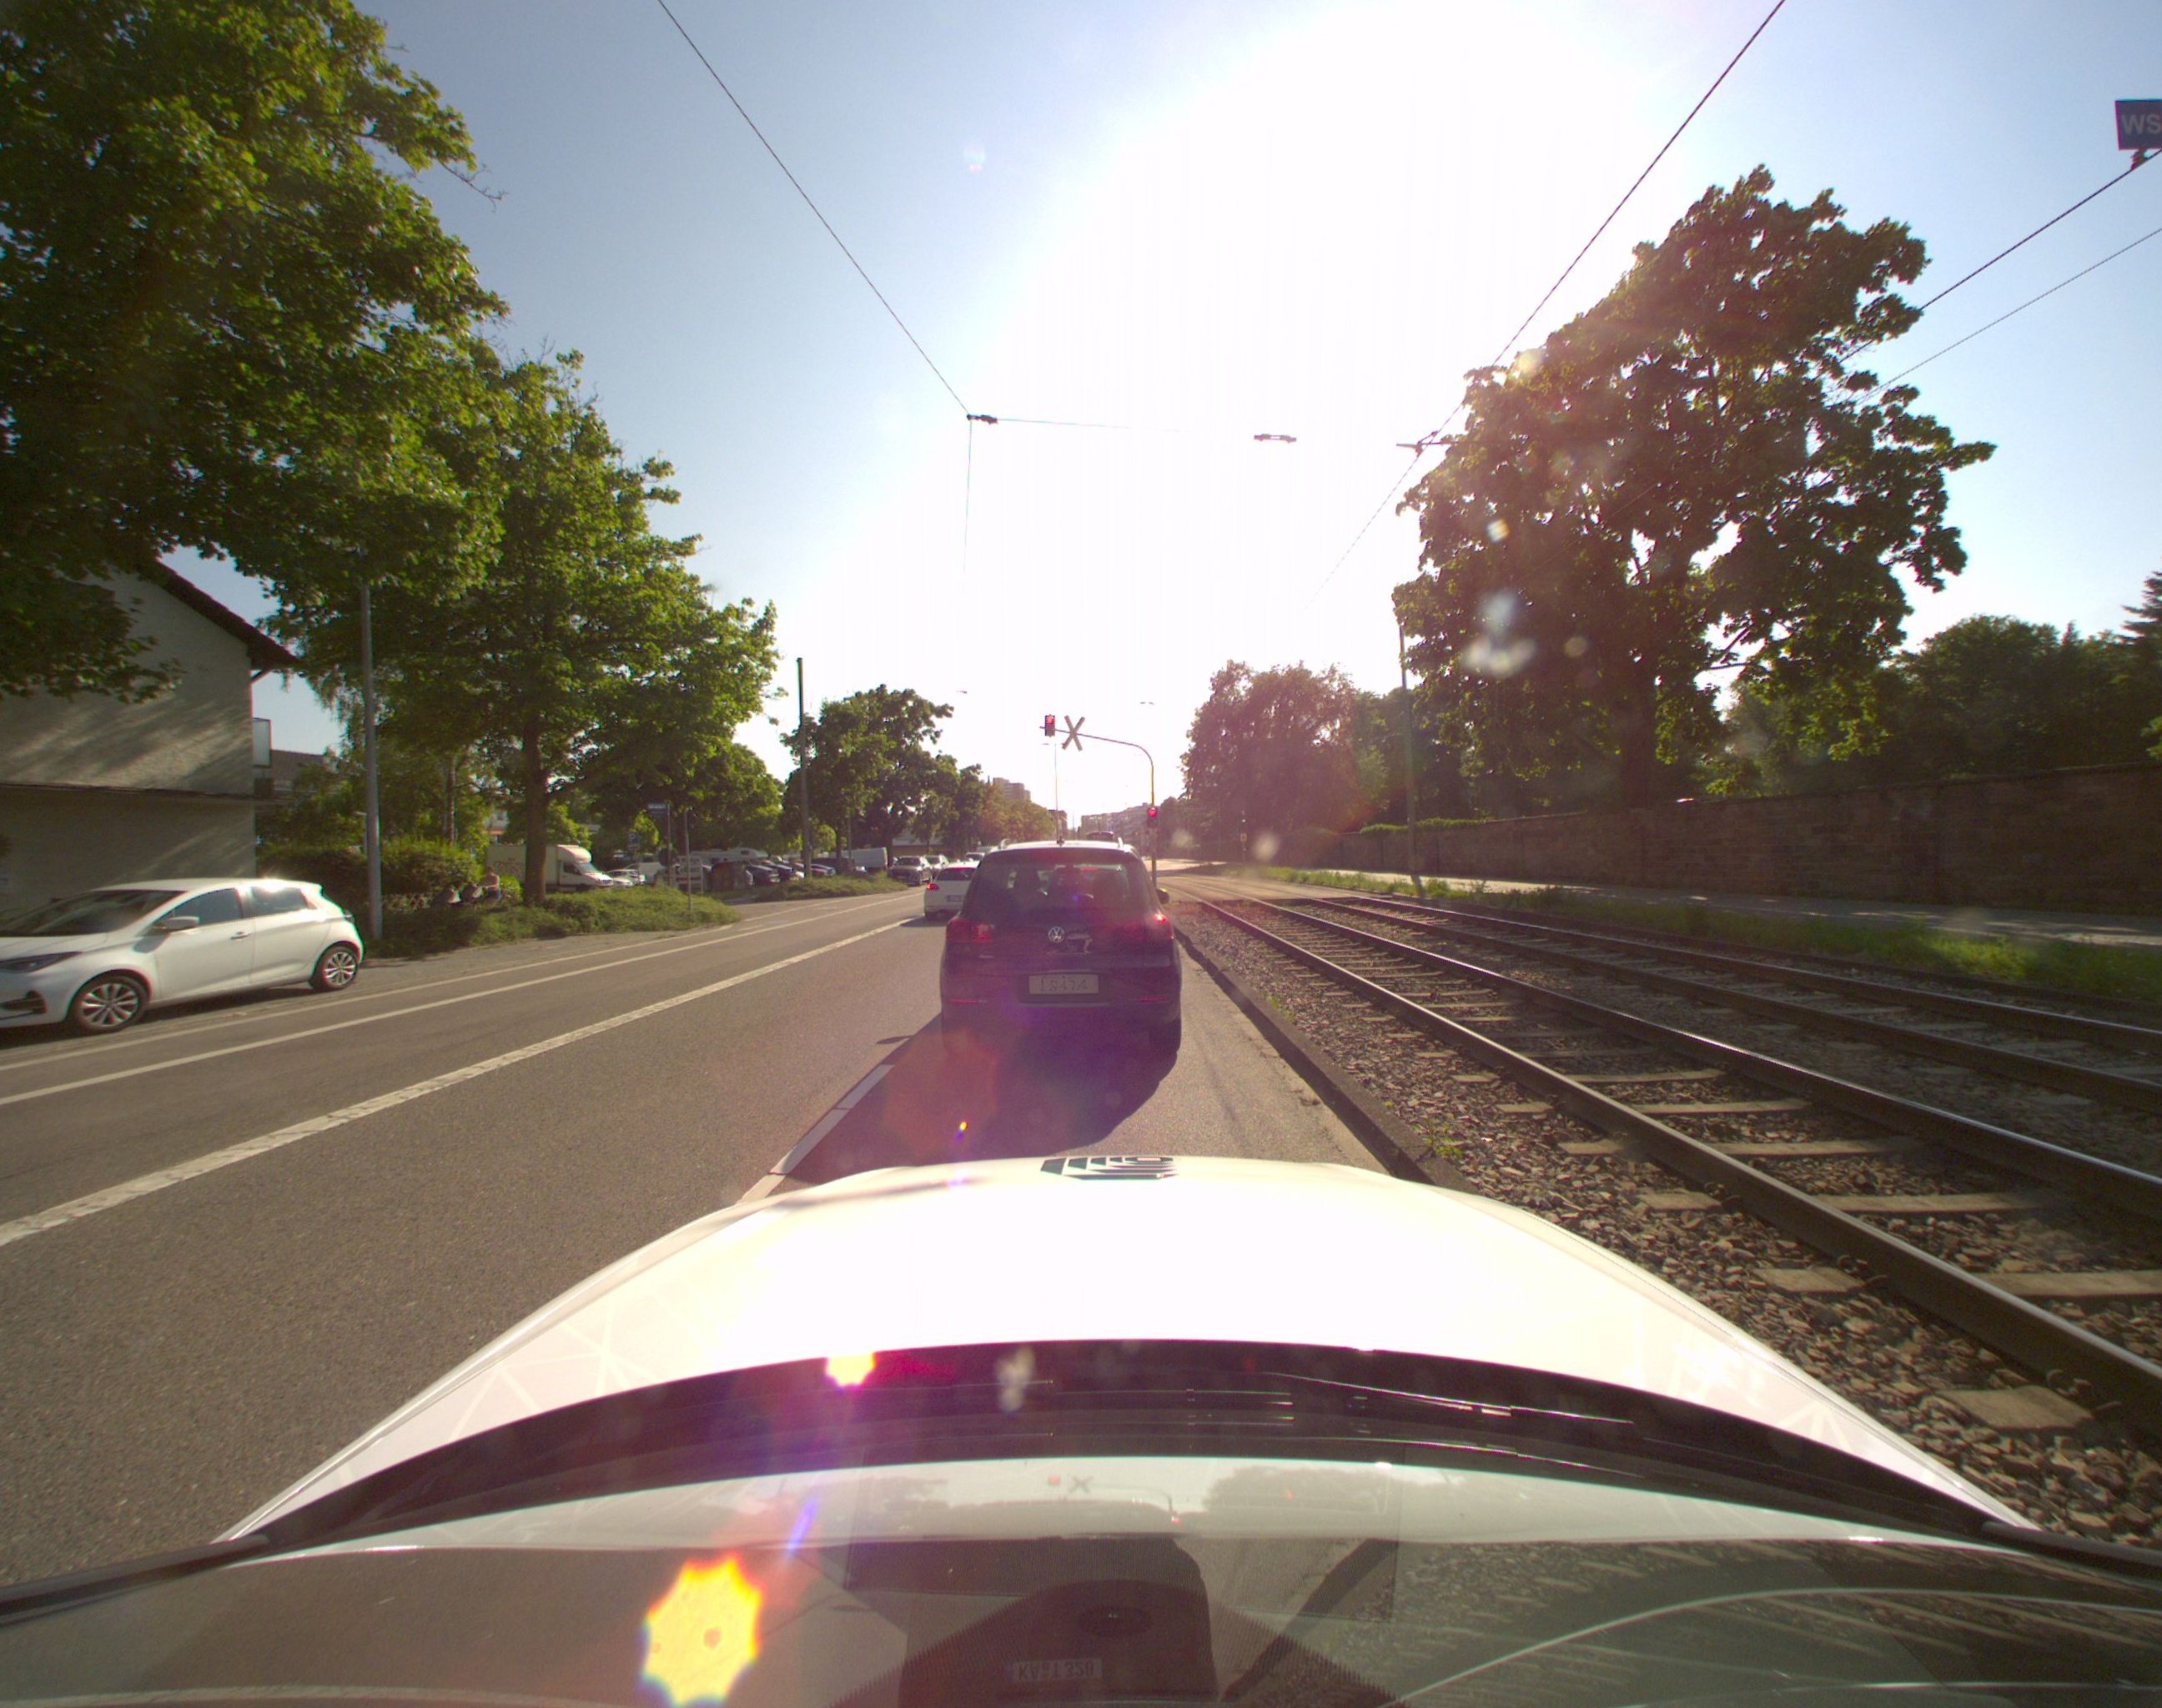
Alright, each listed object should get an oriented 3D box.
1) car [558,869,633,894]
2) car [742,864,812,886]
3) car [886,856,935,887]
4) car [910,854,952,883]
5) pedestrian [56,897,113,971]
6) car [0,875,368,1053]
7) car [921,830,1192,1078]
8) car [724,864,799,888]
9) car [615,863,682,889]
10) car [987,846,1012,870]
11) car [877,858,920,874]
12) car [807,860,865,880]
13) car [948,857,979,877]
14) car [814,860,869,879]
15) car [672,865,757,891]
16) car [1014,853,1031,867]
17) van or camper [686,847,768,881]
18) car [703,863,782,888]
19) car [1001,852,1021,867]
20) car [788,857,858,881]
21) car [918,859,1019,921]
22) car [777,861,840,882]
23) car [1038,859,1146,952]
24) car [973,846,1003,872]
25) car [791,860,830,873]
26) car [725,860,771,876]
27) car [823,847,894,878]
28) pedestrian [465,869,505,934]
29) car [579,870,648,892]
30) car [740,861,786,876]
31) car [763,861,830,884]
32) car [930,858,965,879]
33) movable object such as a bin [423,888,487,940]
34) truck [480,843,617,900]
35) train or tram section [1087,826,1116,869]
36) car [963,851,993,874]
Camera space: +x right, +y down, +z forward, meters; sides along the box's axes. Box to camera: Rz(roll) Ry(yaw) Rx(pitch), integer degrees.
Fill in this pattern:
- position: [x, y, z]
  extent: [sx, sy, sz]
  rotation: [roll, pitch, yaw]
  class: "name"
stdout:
- position: [-32.720, 1.828, 54.961]
  extent: [3.976, 1.457, 1.736]
  rotation: [-2, 0, -2]
  class: "car"
- position: [-20.319, 1.374, 54.556]
  extent: [3.976, 1.307, 1.736]
  rotation: [-2, 0, -2]
  class: "car"
- position: [-9.786, 0.980, 47.075]
  extent: [1.724, 1.657, 4.003]
  rotation: [-2, 0, 3]
  class: "car"
- position: [-9.739, 0.905, 53.137]
  extent: [1.724, 1.694, 4.004]
  rotation: [-2, 1, 3]
  class: "car"
- position: [-16.283, 1.299, 13.309]
  extent: [0.344, 1.162, 0.447]
  rotation: [-2, 0, 9]
  class: "pedestrian"
- position: [-10.823, 1.074, 9.520]
  extent: [1.596, 1.550, 3.892]
  rotation: [0, 0, -1]
  class: "car"
- position: [-0.103, 0.679, 7.458]
  extent: [1.804, 1.645, 4.002]
  rotation: [-1, 0, 2]
  class: "car"
- position: [-20.052, 1.371, 51.264]
  extent: [3.976, 1.307, 1.736]
  rotation: [-2, 0, -2]
  class: "car"
- position: [-31.876, 1.615, 60.045]
  extent: [3.981, 1.728, 1.623]
  rotation: [-2, 0, -6]
  class: "car"
- position: [-8.325, 0.377, 83.613]
  extent: [1.724, 2.268, 4.648]
  rotation: [-2, 0, 3]
  class: "car"
- position: [-18.602, 1.214, 83.264]
  extent: [3.976, 1.397, 1.736]
  rotation: [-2, 0, -2]
  class: "car"
- position: [-19.406, 1.257, 64.618]
  extent: [3.976, 1.397, 1.736]
  rotation: [-2, 0, -2]
  class: "car"
- position: [-9.324, 1.006, 64.794]
  extent: [1.724, 1.450, 3.738]
  rotation: [-2, 1, 3]
  class: "car"
- position: [-19.641, 1.255, 66.979]
  extent: [3.976, 1.397, 1.736]
  rotation: [-2, 0, -2]
  class: "car"
- position: [-20.788, 1.359, 46.272]
  extent: [3.976, 1.307, 1.736]
  rotation: [-2, 0, -2]
  class: "car"
- position: [-7.620, 0.787, 106.642]
  extent: [1.724, 1.694, 4.004]
  rotation: [-2, 1, 3]
  class: "car"
- position: [-32.584, 0.916, 75.075]
  extent: [6.439, 2.868, 2.308]
  rotation: [-1, 0, 2]
  class: "van or camper"
- position: [-20.189, 1.272, 48.674]
  extent: [3.976, 1.307, 1.736]
  rotation: [-2, 0, -2]
  class: "car"
- position: [-8.194, 0.643, 95.263]
  extent: [1.724, 1.694, 4.004]
  rotation: [-2, 1, 3]
  class: "car"
- position: [-19.625, 1.135, 62.119]
  extent: [4.604, 1.651, 2.048]
  rotation: [-2, 0, -1]
  class: "car"
- position: [-2.727, 0.840, 20.649]
  extent: [1.858, 1.348, 4.002]
  rotation: [-1, 0, 2]
  class: "car"
- position: [-19.978, 1.270, 59.735]
  extent: [3.976, 1.397, 1.736]
  rotation: [-2, 0, -2]
  class: "car"
- position: [0.238, 0.838, 14.937]
  extent: [1.663, 1.386, 4.002]
  rotation: [-2, 0, 2]
  class: "car"
- position: [-8.735, 0.435, 76.789]
  extent: [1.856, 2.347, 4.989]
  rotation: [-2, 0, 3]
  class: "car"
- position: [-31.630, 1.435, 95.322]
  extent: [3.976, 1.397, 1.736]
  rotation: [-2, 0, -2]
  class: "car"
- position: [-32.001, 1.366, 78.232]
  extent: [3.653, 1.397, 1.736]
  rotation: [-2, 0, -2]
  class: "car"
- position: [-19.111, 0.738, 70.121]
  extent: [5.356, 2.423, 2.088]
  rotation: [-2, 0, 1]
  class: "car"
- position: [-15.221, 1.201, 20.802]
  extent: [0.522, 1.628, 0.610]
  rotation: [-2, 0, 1]
  class: "pedestrian"
- position: [-33.128, 1.883, 57.748]
  extent: [3.966, 1.361, 1.630]
  rotation: [-2, 0, 6]
  class: "car"
- position: [-32.579, 1.471, 83.418]
  extent: [3.976, 1.397, 1.736]
  rotation: [-2, 0, -2]
  class: "car"
- position: [-19.791, 1.269, 56.762]
  extent: [3.976, 1.397, 1.736]
  rotation: [-2, 0, -2]
  class: "car"
- position: [-9.606, 1.039, 58.917]
  extent: [1.724, 1.389, 3.738]
  rotation: [-2, 1, 3]
  class: "car"
- position: [-15.240, 1.438, 19.857]
  extent: [0.540, 1.146, 1.261]
  rotation: [-2, 0, 2]
  class: "movable object such as a bin"
- position: [-32.574, 1.047, 49.923]
  extent: [6.941, 3.242, 1.987]
  rotation: [-2, 0, -1]
  class: "truck"
- position: [1.845, -0.548, 72.475]
  extent: [2.318, 3.570, 8.903]
  rotation: [-2, 0, 2]
  class: "train or tram section"
- position: [-8.859, 0.715, 70.112]
  extent: [1.724, 1.860, 4.493]
  rotation: [-2, 0, 3]
  class: "car"
